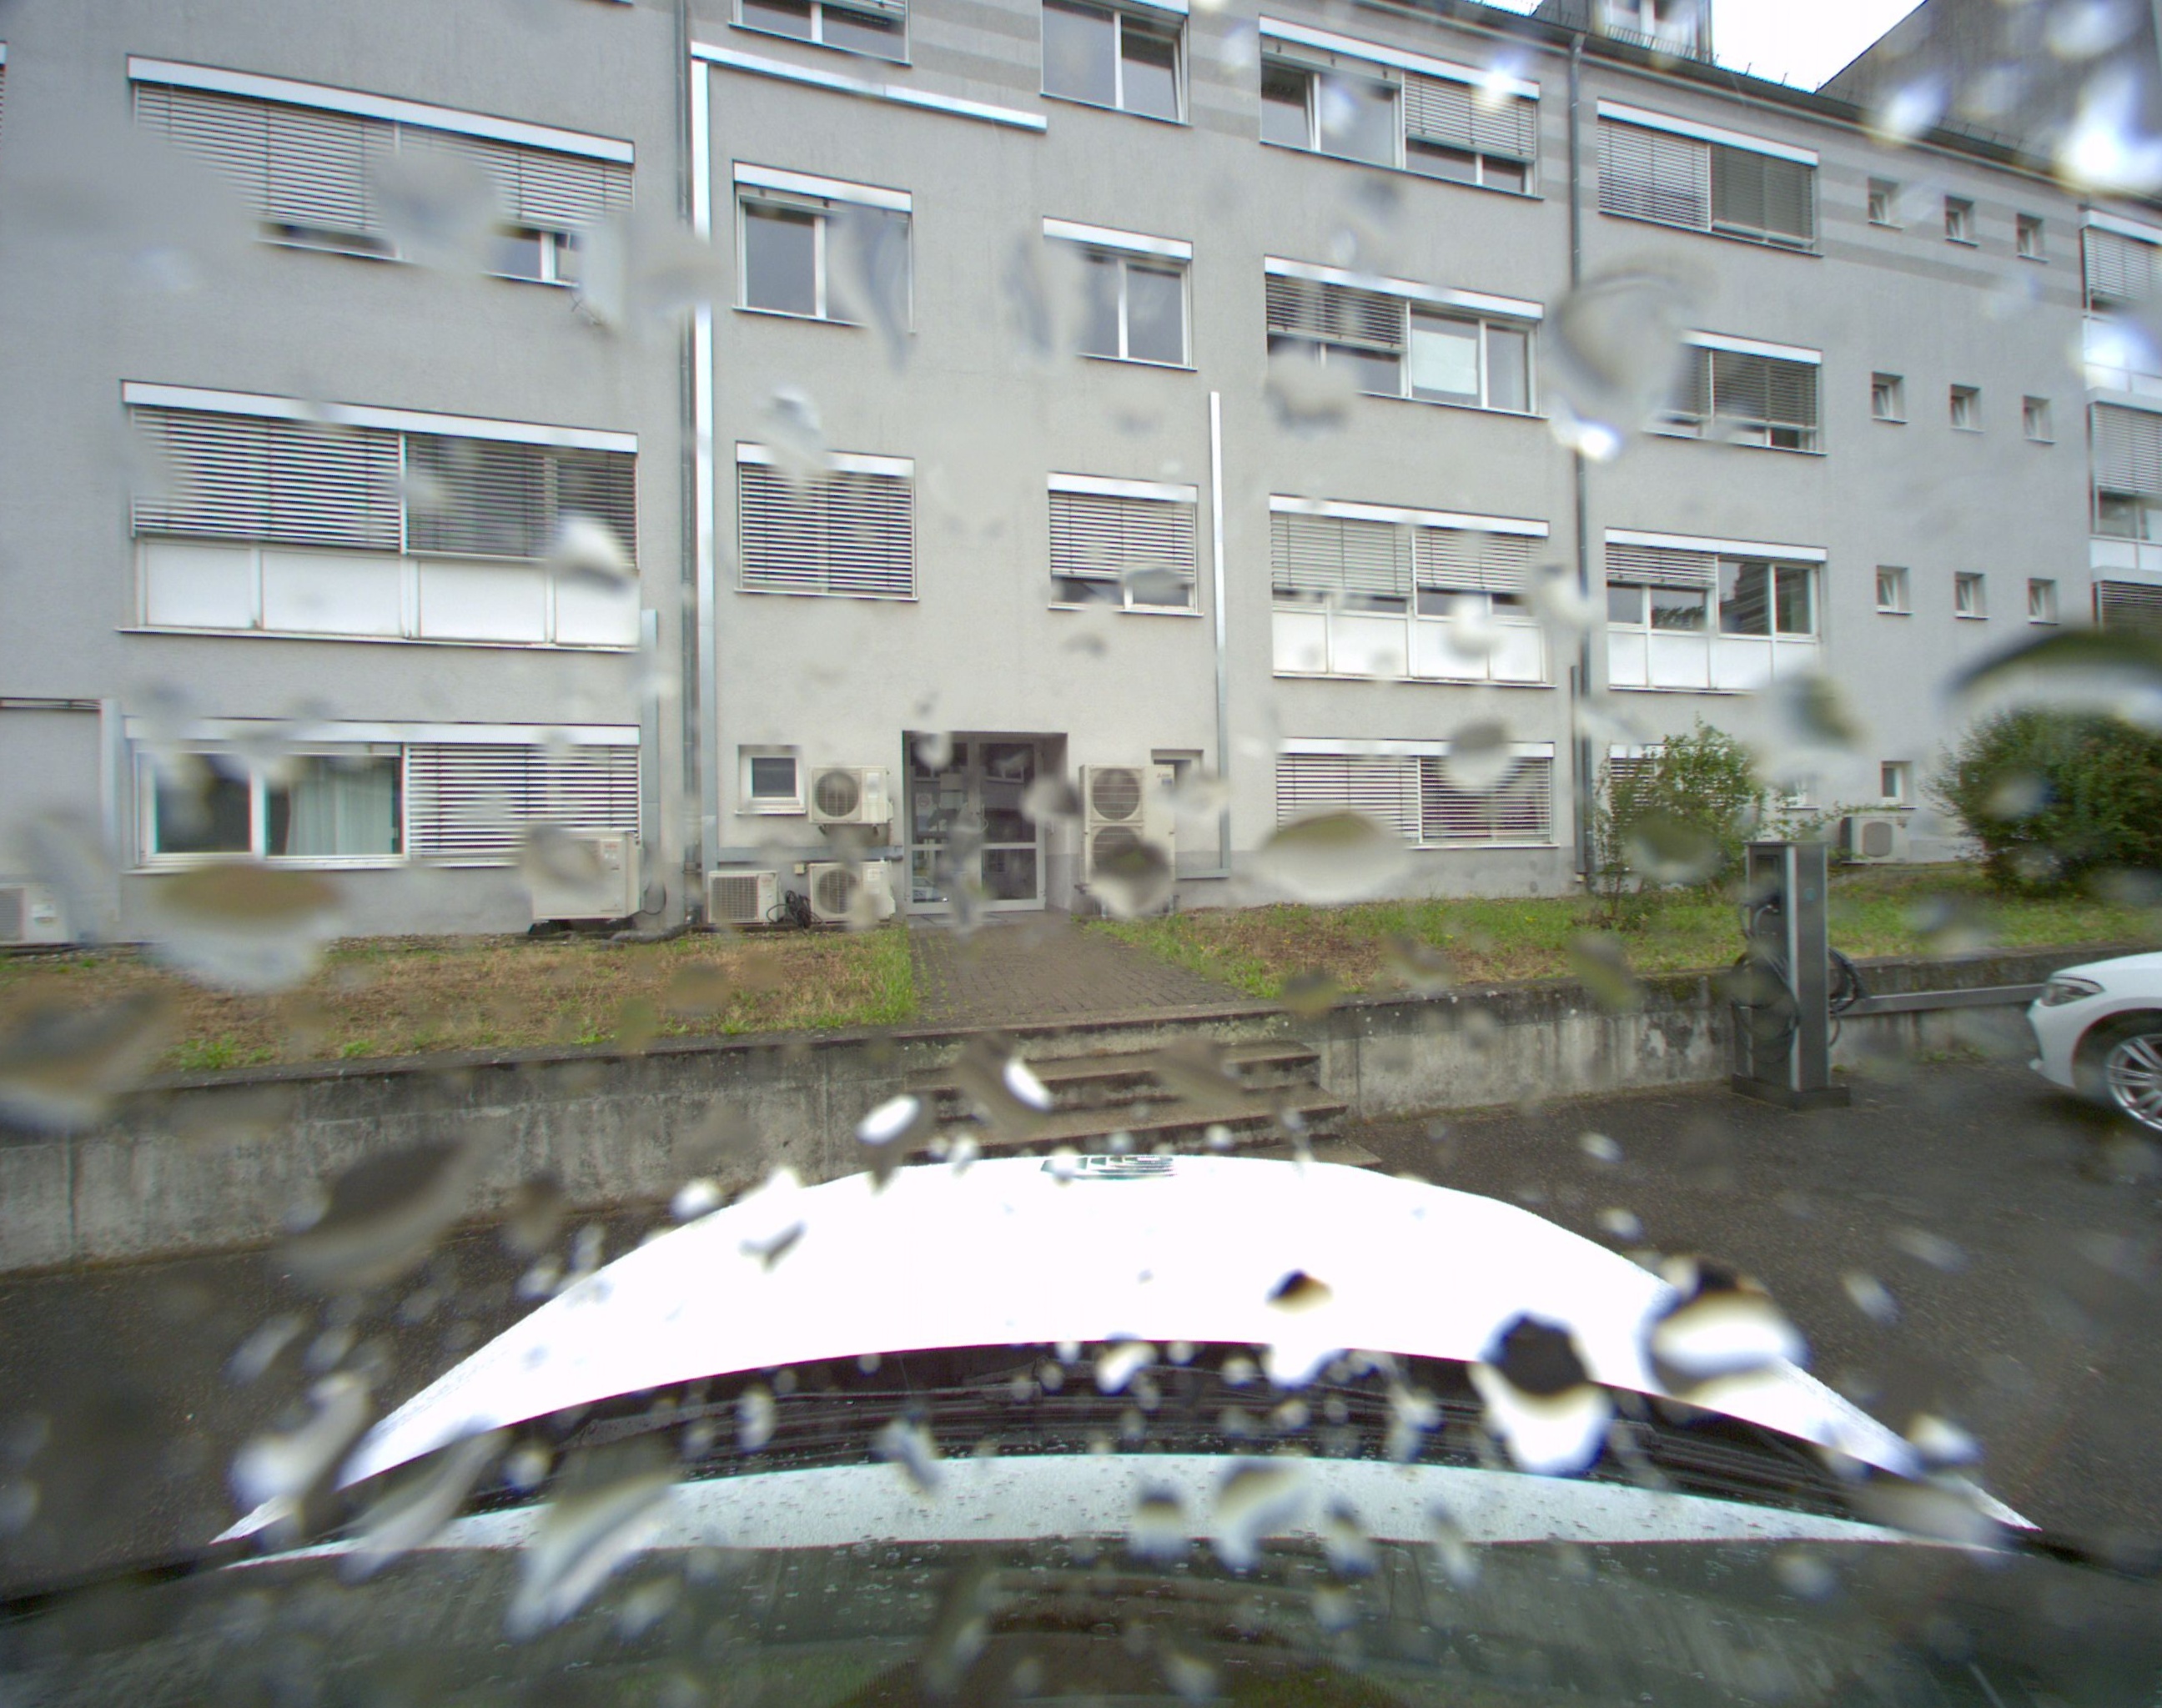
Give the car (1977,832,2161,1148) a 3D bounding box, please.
[{"bbox_3d":[6.318,0.621,2.624,1.994,1.489,4.206,0,0,-10],"label":"car"}]
